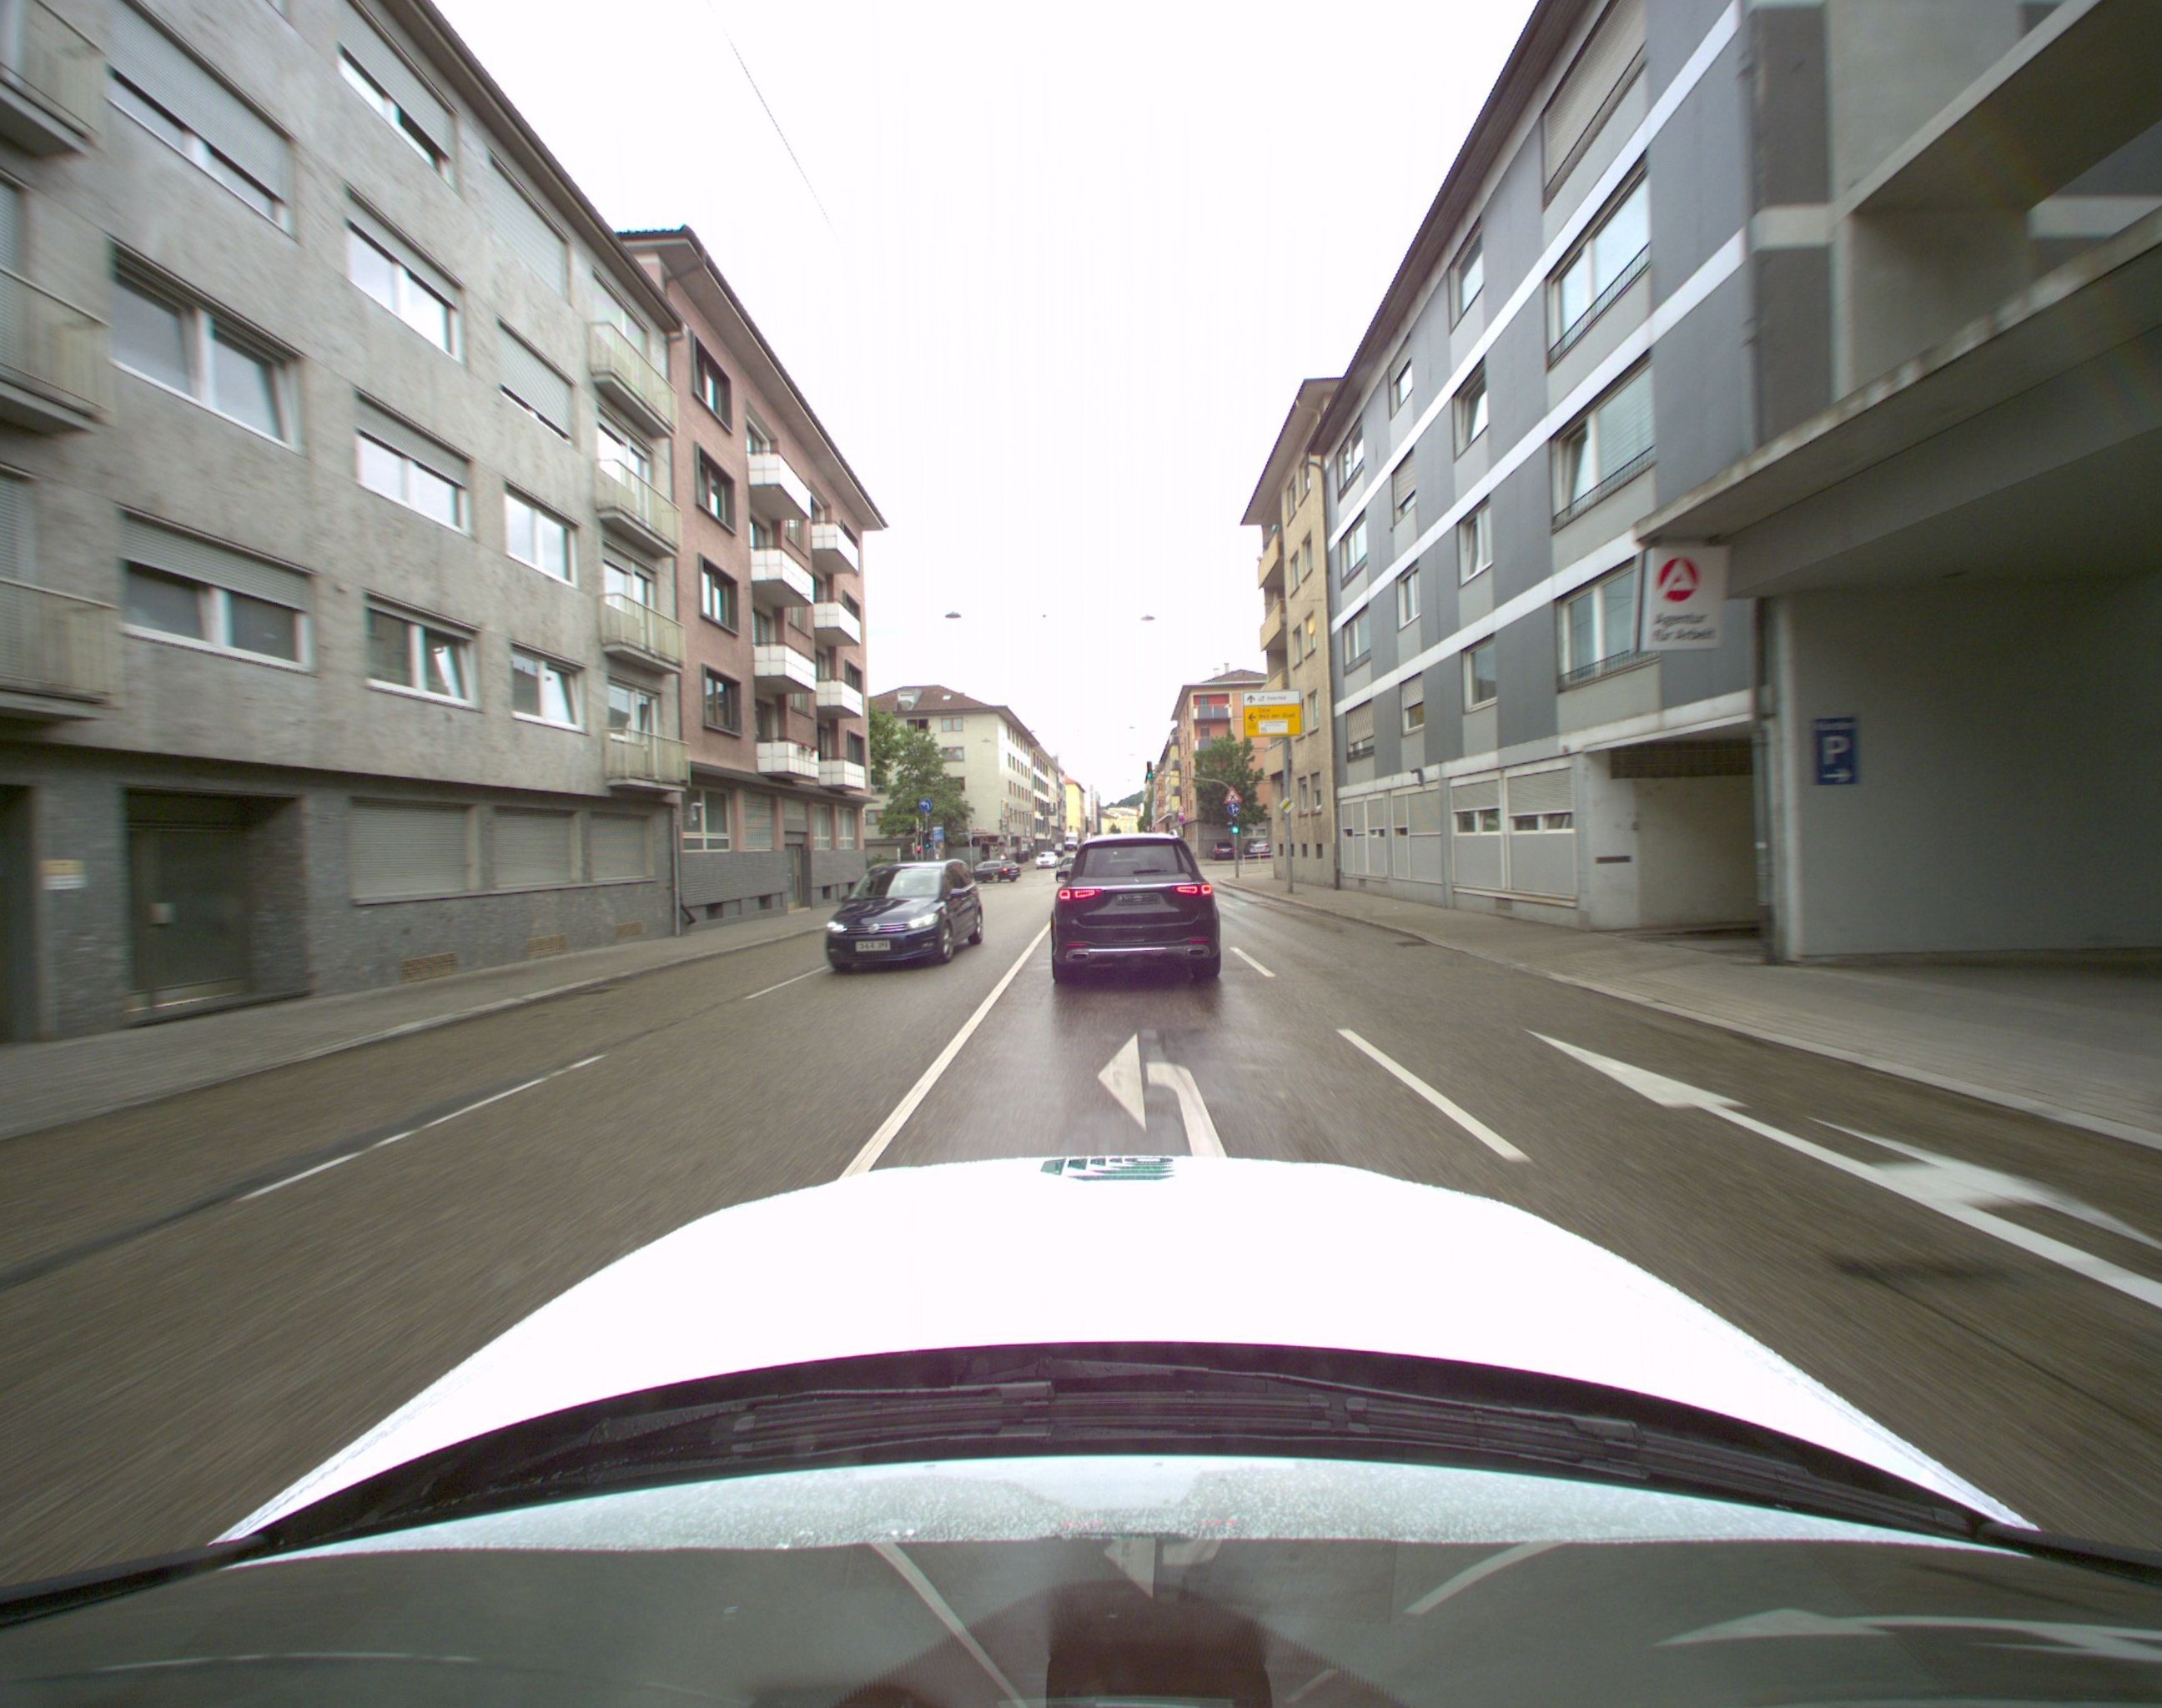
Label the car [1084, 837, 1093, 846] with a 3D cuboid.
[{"bbox_3d":[1.557,-2.561,168.844,1.613,1.539,4.216,-3,-1,0],"label":"car"}]

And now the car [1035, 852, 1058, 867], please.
[{"bbox_3d":[-3.204,0.547,75.918,1.879,1.264,4.216,-3,-1,0],"label":"car"}]

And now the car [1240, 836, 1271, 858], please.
[{"bbox_3d":[14.822,-0.576,69.245,1.816,1.795,3.833,-2,0,1],"label":"car"}]

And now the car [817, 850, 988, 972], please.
[{"bbox_3d":[-2.815,0.802,13.893,1.766,1.645,4.413,-3,0,1],"label":"car"}]

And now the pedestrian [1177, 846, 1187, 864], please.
[{"bbox_3d":[10.383,0.142,83.750,0.920,1.804,0.706,-2,-1,0],"label":"pedestrian"}]

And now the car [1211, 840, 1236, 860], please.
[{"bbox_3d":[12.113,-0.323,69.342,1.663,1.588,3.334,-2,0,4],"label":"car"}]

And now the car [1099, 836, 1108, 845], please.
[{"bbox_3d":[4.357,-2.544,158.310,1.613,1.539,4.216,-3,-1,0],"label":"car"}]

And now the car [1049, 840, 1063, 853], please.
[{"bbox_3d":[-3.205,-0.943,106.833,1.613,1.539,4.216,-3,-1,0],"label":"car"}]

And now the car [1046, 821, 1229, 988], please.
[{"bbox_3d":[0.698,0.589,11.132,1.977,1.805,4.391,1,-1,2],"label":"car"}]

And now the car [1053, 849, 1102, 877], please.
[{"bbox_3d":[-0.260,0.570,49.728,1.779,1.539,3.736,-3,-1,-21],"label":"car"}]

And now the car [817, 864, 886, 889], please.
[{"bbox_3d":[-16.582,1.615,58.933,4.325,1.539,1.780,-3,-1,4],"label":"car"}]

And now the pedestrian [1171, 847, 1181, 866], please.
[{"bbox_3d":[10.292,0.232,88.062,0.920,2.013,0.706,-2,-1,0],"label":"pedestrian"}]

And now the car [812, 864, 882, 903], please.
[{"bbox_3d":[-11.201,1.374,39.371,1.986,1.673,4.260,-2,0,1],"label":"car"}]

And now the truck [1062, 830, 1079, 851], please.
[{"bbox_3d":[-1.660,-2.144,132.253,2.472,3.046,9.917,-3,-1,0],"label":"truck"}]

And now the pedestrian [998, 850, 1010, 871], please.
[{"bbox_3d":[-6.599,0.544,69.710,0.630,1.764,0.777,-2,-1,19],"label":"pedestrian"}]

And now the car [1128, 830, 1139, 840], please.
[{"bbox_3d":[10.308,-3.767,160.381,1.718,1.760,4.217,-2,0,0],"label":"car"}]

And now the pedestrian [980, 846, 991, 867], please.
[{"bbox_3d":[-9.038,0.262,77.049,0.920,1.902,0.706,-2,-1,0],"label":"pedestrian"}]

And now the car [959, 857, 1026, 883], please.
[{"bbox_3d":[-6.008,1.100,55.211,4.302,1.539,1.789,-4,-1,35],"label":"car"}]
